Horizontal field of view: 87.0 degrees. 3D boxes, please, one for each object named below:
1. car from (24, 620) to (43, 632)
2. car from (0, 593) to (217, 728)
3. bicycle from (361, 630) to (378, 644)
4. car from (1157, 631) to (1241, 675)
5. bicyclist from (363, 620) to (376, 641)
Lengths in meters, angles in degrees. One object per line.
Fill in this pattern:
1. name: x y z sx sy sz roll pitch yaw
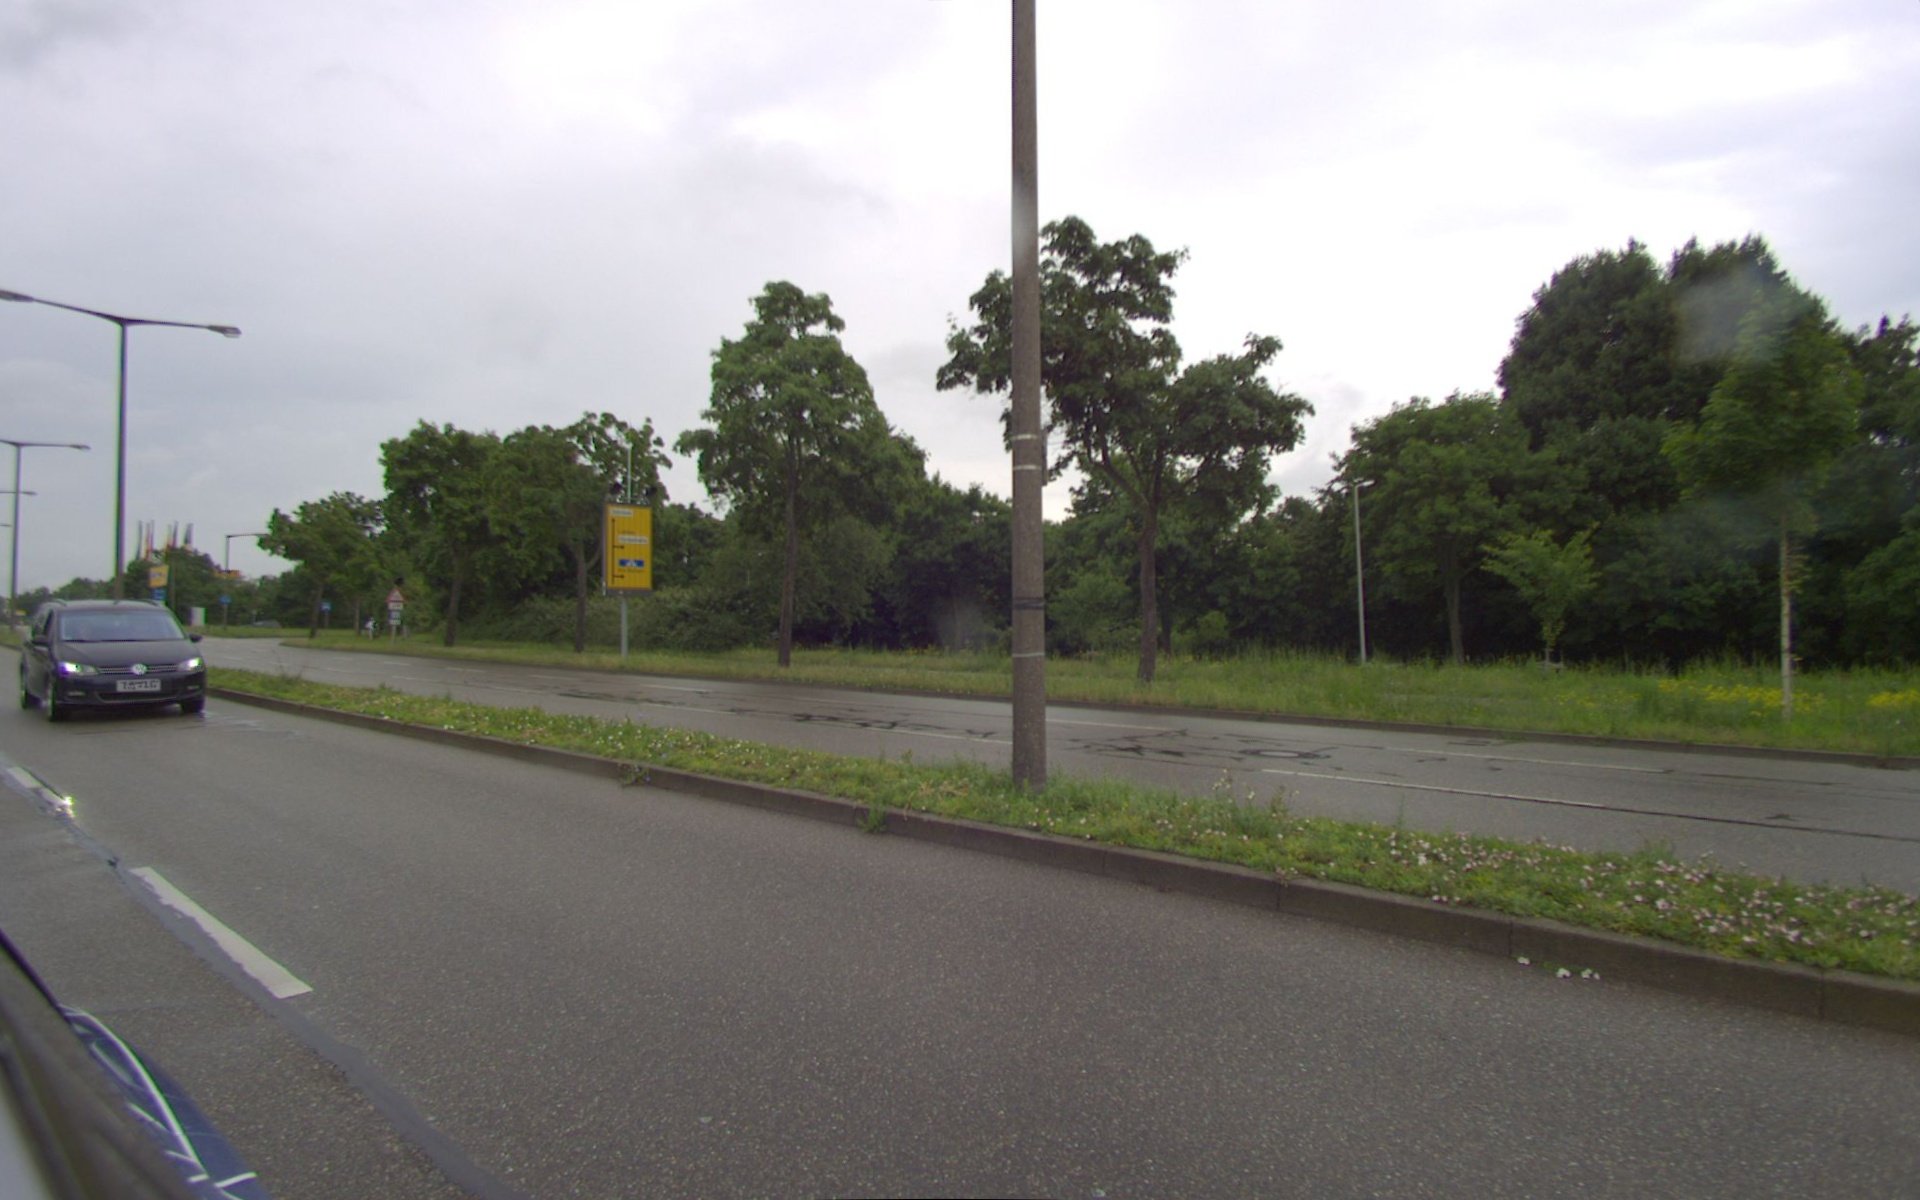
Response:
1. car: -137.121 3.854 149.814 4.492 1.642 1.688 -2 -5 43
2. car: -13.312 0.851 15.669 4.814 1.764 1.827 -2 0 40
3. bicycle: -37.847 2.363 64.886 1.634 0.892 0.516 -1 -1 44
4. car: 9.830 2.136 41.421 1.996 1.698 3.952 -2 -2 35
5. bicyclist: -37.848 1.972 64.887 0.808 1.312 0.516 -1 -1 43
